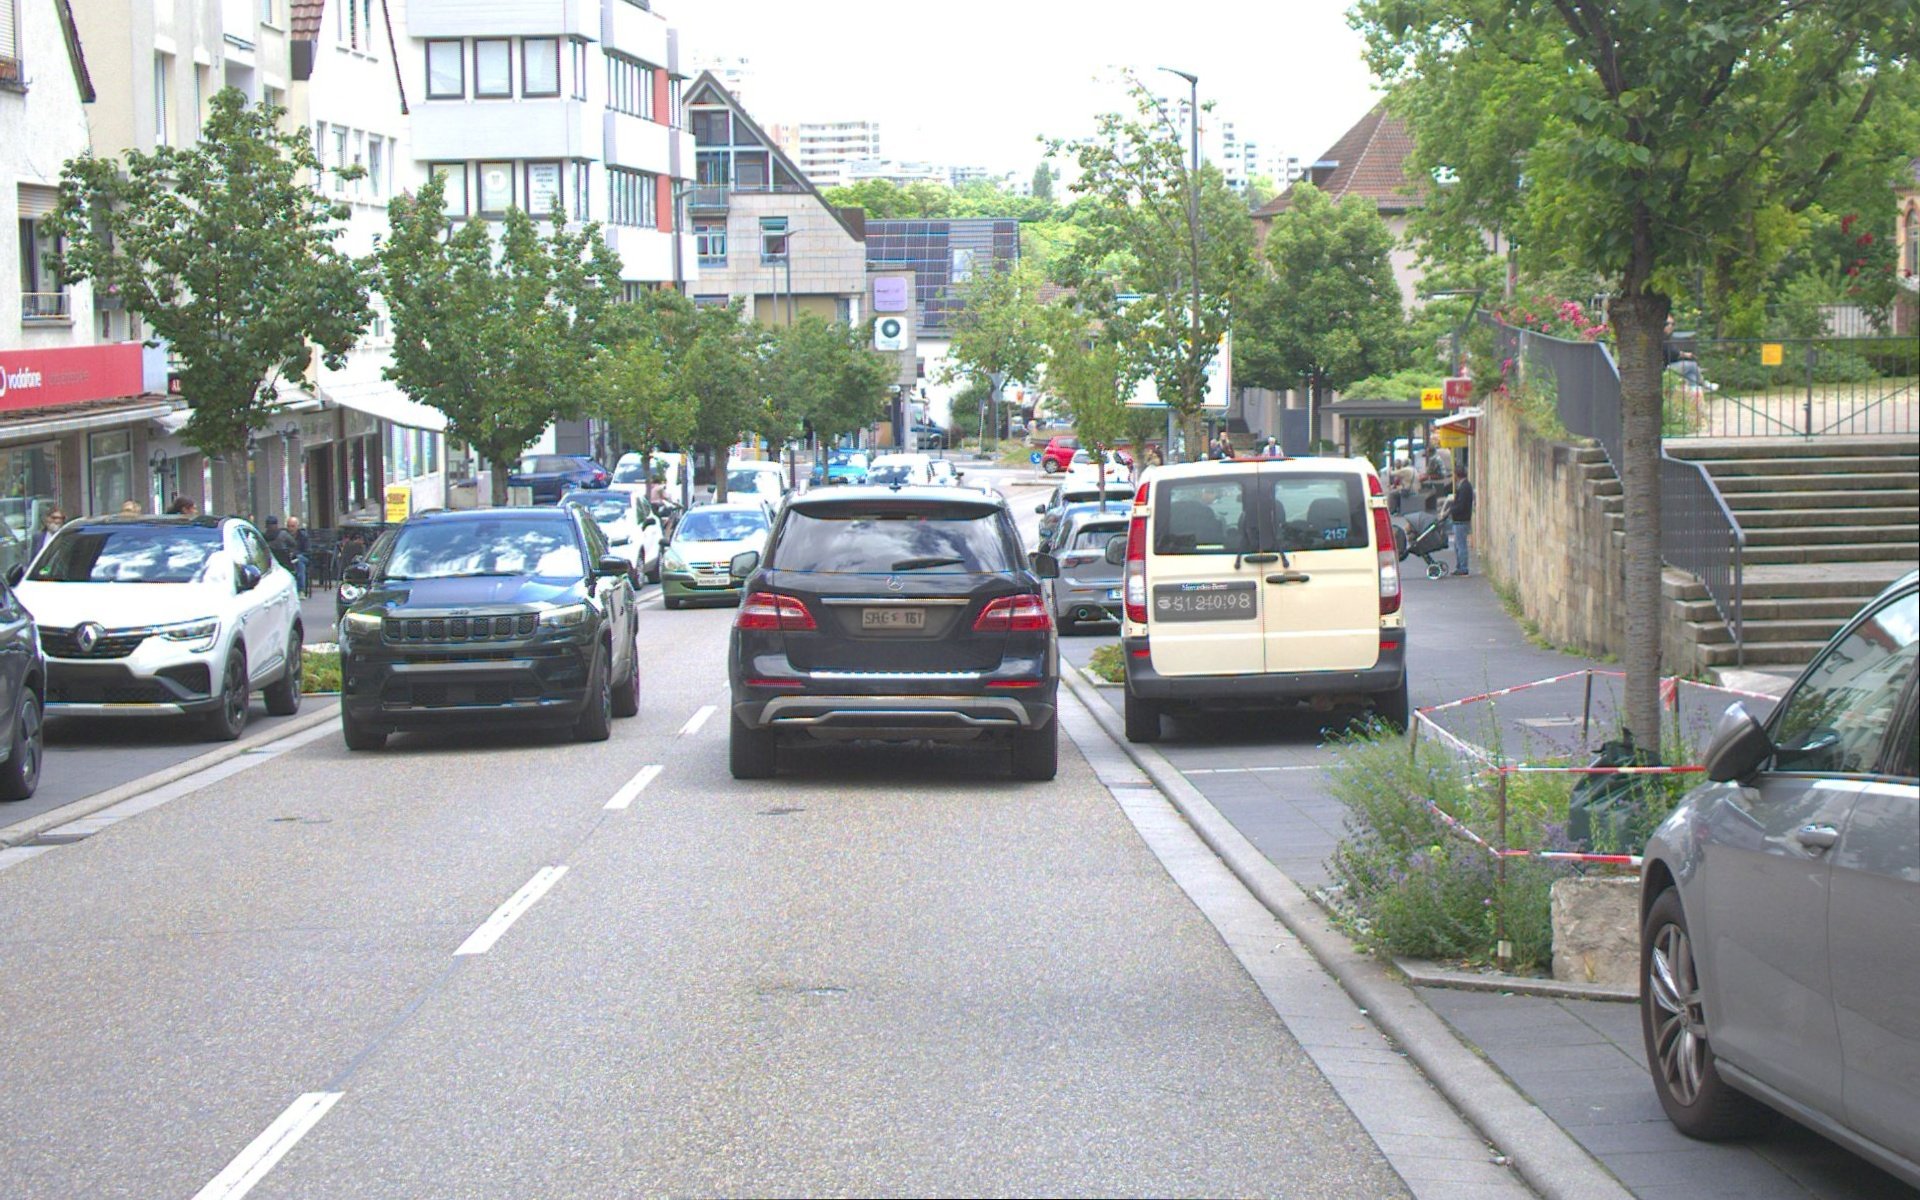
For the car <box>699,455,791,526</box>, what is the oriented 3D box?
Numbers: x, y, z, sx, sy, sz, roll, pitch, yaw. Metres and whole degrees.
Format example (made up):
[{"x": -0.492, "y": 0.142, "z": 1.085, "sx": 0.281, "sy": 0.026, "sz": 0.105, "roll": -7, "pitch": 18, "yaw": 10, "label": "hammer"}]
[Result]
[{"x": -5.153, "y": -2.660, "z": 82.822, "sx": 1.926, "sy": 1.623, "sz": 4.263, "roll": 2, "pitch": 2, "yaw": -1, "label": "car"}]

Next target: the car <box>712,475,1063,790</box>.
[{"x": -0.420, "y": 0.105, "z": 21.314, "sx": 1.943, "sy": 1.734, "sz": 4.179, "roll": 1, "pitch": 2, "yaw": 0, "label": "car"}]

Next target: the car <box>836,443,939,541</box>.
[{"x": -1.795, "y": -2.706, "z": 86.614, "sx": 2.174, "sy": 2.356, "sz": 4.622, "roll": -1, "pitch": 2, "yaw": 3, "label": "car"}]

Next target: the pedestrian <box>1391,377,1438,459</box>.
[{"x": 12.328, "y": -4.929, "z": 93.207, "sx": 1.012, "sy": 2.143, "sz": 1.067, "roll": -2, "pitch": 2, "yaw": 18, "label": "pedestrian"}]

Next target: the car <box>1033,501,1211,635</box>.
[{"x": 1.933, "y": -0.442, "z": 42.234, "sx": 1.938, "sy": 1.452, "sz": 4.707, "roll": -1, "pitch": 2, "yaw": 0, "label": "car"}]

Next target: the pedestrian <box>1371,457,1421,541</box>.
[{"x": 10.159, "y": -2.355, "z": 80.152, "sx": 1.050, "sy": 1.906, "sz": 0.937, "roll": -3, "pitch": 2, "yaw": 7, "label": "pedestrian"}]

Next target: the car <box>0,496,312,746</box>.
[{"x": -6.063, "y": 0.079, "z": 25.485, "sx": 1.926, "sy": 1.590, "sz": 4.459, "roll": 1, "pitch": 2, "yaw": -4, "label": "car"}]

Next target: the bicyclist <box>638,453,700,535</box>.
[{"x": -5.872, "y": -2.139, "z": 69.416, "sx": 0.962, "sy": 1.604, "sz": 0.730, "roll": -4, "pitch": 2, "yaw": -27, "label": "bicyclist"}]

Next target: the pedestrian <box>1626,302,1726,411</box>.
[{"x": 8.425, "y": -2.864, "z": 40.498, "sx": 0.990, "sy": 1.227, "sz": 0.984, "roll": 0, "pitch": 1, "yaw": 1, "label": "pedestrian"}]

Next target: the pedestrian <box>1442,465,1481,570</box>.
[{"x": 7.672, "y": -1.262, "z": 52.600, "sx": 0.568, "sy": 1.581, "sz": 0.666, "roll": -1, "pitch": 1, "yaw": 8, "label": "pedestrian"}]

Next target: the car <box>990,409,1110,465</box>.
[{"x": 3.376, "y": -6.139, "z": 129.626, "sx": 4.192, "sy": 2.023, "sz": 1.784, "roll": 0, "pitch": 2, "yaw": 33, "label": "car"}]

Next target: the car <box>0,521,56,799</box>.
[{"x": -6.181, "y": 0.384, "z": 18.082, "sx": 1.926, "sy": 1.491, "sz": 4.263, "roll": -1, "pitch": 2, "yaw": -3, "label": "car"}]

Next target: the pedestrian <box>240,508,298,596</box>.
[{"x": -10.142, "y": -0.711, "z": 50.466, "sx": 0.686, "sy": 1.277, "sz": 0.676, "roll": -1, "pitch": 1, "yaw": -1, "label": "pedestrian"}]

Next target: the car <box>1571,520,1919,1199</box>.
[{"x": 2.548, "y": 0.575, "z": 6.905, "sx": 1.748, "sy": 1.460, "sz": 4.075, "roll": -3, "pitch": 2, "yaw": -1, "label": "car"}]

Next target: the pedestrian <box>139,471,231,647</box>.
[{"x": -7.392, "y": -0.394, "z": 32.820, "sx": 0.727, "sy": 1.662, "sz": 0.720, "roll": 0, "pitch": 2, "yaw": -1, "label": "pedestrian"}]

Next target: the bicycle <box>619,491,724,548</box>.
[{"x": -5.827, "y": -1.624, "z": 69.453, "sx": 1.956, "sy": 1.054, "sz": 0.712, "roll": -4, "pitch": 2, "yaw": -27, "label": "bicycle"}]

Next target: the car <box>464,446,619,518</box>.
[{"x": -11.315, "y": -3.195, "z": 93.212, "sx": 3.986, "sy": 1.744, "sz": 2.000, "roll": -3, "pitch": 2, "yaw": -4, "label": "car"}]

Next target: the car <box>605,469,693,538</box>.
[{"x": -7.725, "y": -2.430, "z": 85.797, "sx": 1.926, "sy": 1.623, "sz": 4.415, "roll": 1, "pitch": 2, "yaw": -2, "label": "car"}]

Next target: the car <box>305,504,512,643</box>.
[{"x": -6.663, "y": -0.365, "z": 41.944, "sx": 1.926, "sy": 1.491, "sz": 4.263, "roll": 2, "pitch": 2, "yaw": -2, "label": "car"}]

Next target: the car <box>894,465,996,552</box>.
[{"x": -0.312, "y": -1.865, "z": 68.879, "sx": 1.926, "sy": 1.623, "sz": 4.263, "roll": 2, "pitch": 2, "yaw": -1, "label": "car"}]

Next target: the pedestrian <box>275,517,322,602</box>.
[{"x": -9.969, "y": -0.616, "z": 51.812, "sx": 0.565, "sy": 1.277, "sz": 0.759, "roll": 0, "pitch": 1, "yaw": -1, "label": "pedestrian"}]

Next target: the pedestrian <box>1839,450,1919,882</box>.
[{"x": 3.876, "y": 0.226, "z": 13.331, "sx": 0.671, "sy": 1.627, "sz": 0.670, "roll": -3, "pitch": 2, "yaw": -3, "label": "pedestrian"}]

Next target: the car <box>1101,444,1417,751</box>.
[{"x": 2.054, "y": -0.118, "z": 24.358, "sx": 1.938, "sy": 1.885, "sz": 4.707, "roll": -3, "pitch": 2, "yaw": 4, "label": "car"}]

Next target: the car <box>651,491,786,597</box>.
[{"x": -3.614, "y": -0.878, "z": 52.000, "sx": 1.812, "sy": 1.503, "sz": 4.001, "roll": -1, "pitch": 2, "yaw": -1, "label": "car"}]

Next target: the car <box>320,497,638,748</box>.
[{"x": -3.347, "y": 0.092, "z": 24.607, "sx": 1.764, "sy": 1.611, "sz": 4.033, "roll": -1, "pitch": 2, "yaw": -1, "label": "car"}]

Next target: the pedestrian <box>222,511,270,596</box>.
[{"x": -10.762, "y": -0.707, "z": 51.833, "sx": 0.565, "sy": 1.277, "sz": 0.759, "roll": 0, "pitch": 1, "yaw": -1, "label": "pedestrian"}]

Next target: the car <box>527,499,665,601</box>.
[{"x": -6.158, "y": -0.880, "z": 58.565, "sx": 1.926, "sy": 1.623, "sz": 4.263, "roll": 0, "pitch": 2, "yaw": 0, "label": "car"}]

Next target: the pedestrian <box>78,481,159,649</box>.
[{"x": -8.427, "y": -0.357, "z": 34.449, "sx": 0.641, "sy": 1.662, "sz": 0.720, "roll": 0, "pitch": 2, "yaw": -1, "label": "pedestrian"}]
